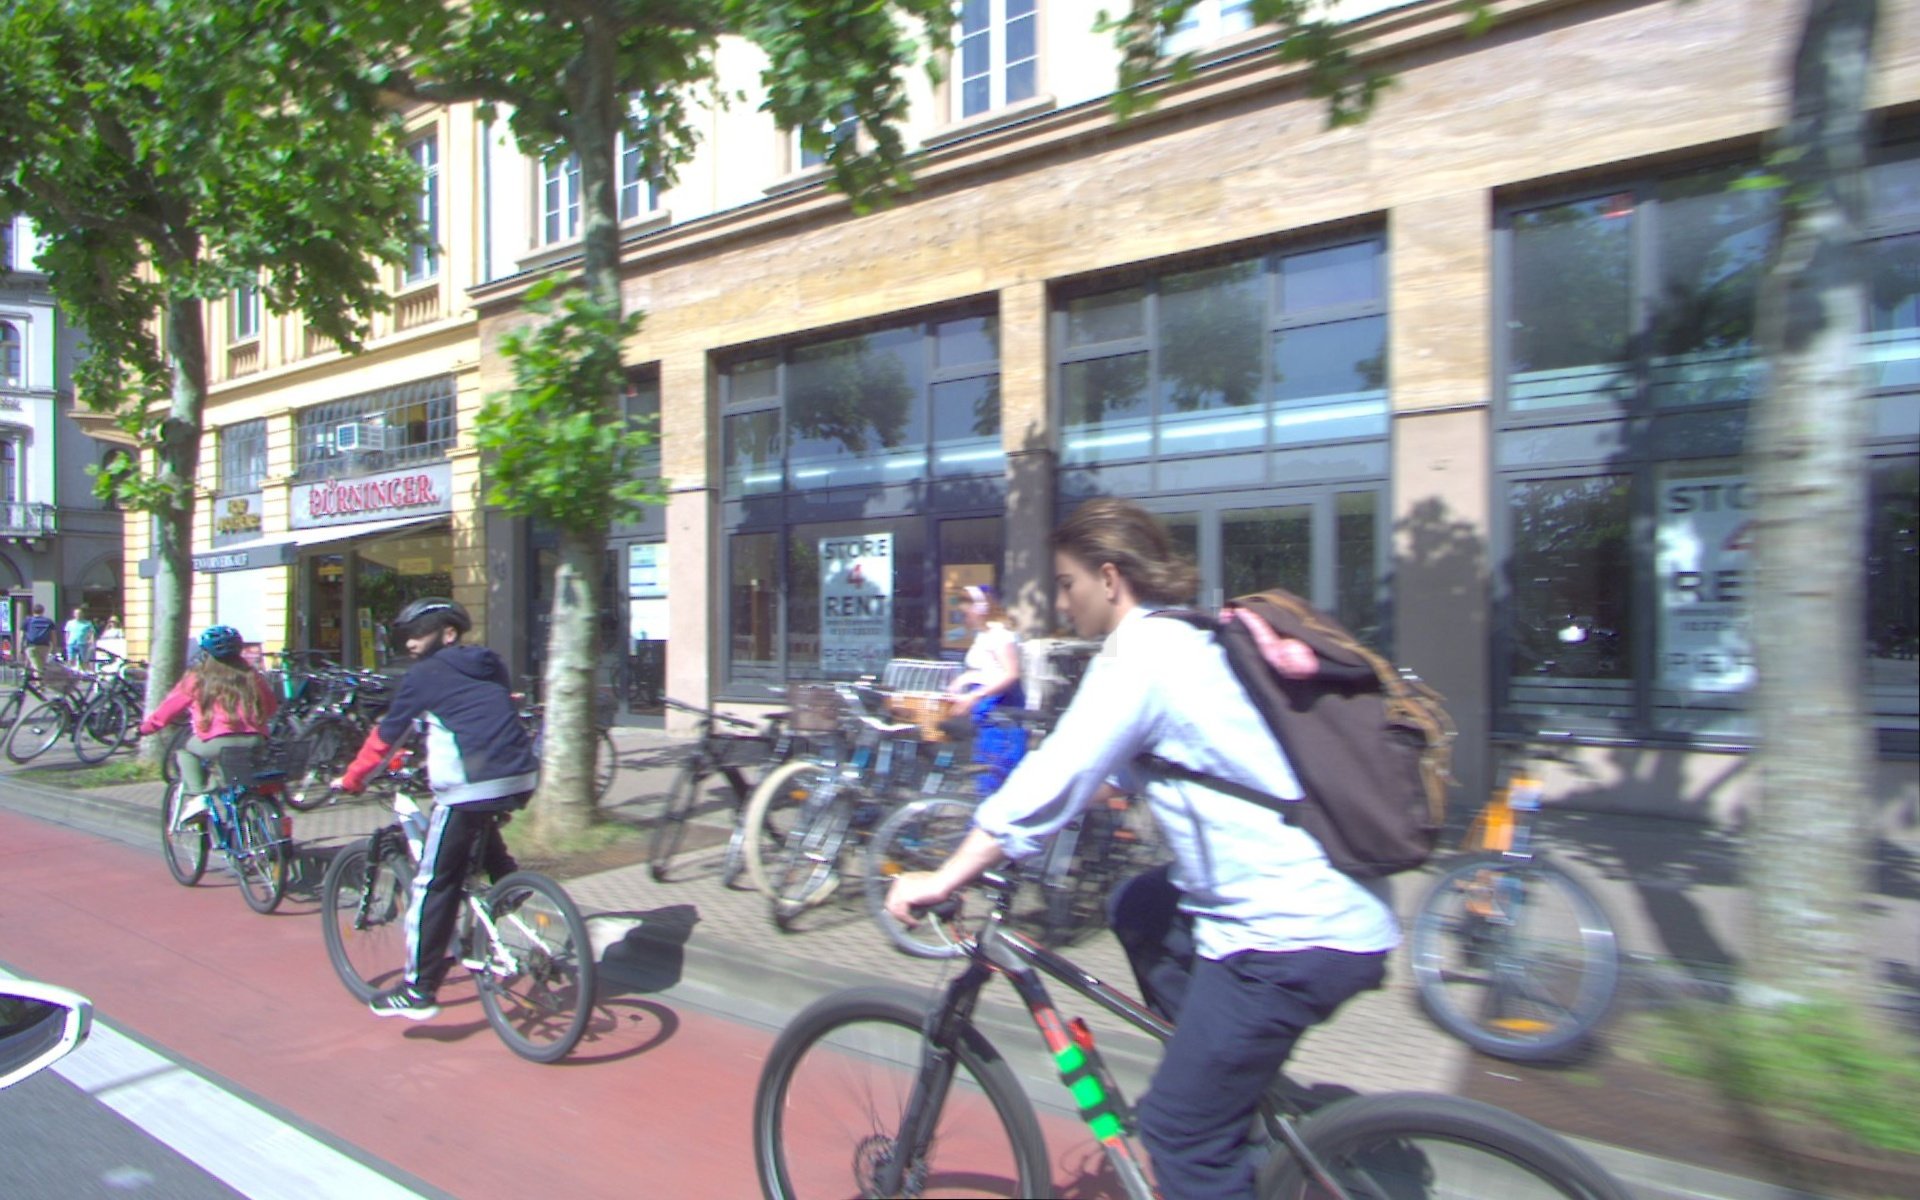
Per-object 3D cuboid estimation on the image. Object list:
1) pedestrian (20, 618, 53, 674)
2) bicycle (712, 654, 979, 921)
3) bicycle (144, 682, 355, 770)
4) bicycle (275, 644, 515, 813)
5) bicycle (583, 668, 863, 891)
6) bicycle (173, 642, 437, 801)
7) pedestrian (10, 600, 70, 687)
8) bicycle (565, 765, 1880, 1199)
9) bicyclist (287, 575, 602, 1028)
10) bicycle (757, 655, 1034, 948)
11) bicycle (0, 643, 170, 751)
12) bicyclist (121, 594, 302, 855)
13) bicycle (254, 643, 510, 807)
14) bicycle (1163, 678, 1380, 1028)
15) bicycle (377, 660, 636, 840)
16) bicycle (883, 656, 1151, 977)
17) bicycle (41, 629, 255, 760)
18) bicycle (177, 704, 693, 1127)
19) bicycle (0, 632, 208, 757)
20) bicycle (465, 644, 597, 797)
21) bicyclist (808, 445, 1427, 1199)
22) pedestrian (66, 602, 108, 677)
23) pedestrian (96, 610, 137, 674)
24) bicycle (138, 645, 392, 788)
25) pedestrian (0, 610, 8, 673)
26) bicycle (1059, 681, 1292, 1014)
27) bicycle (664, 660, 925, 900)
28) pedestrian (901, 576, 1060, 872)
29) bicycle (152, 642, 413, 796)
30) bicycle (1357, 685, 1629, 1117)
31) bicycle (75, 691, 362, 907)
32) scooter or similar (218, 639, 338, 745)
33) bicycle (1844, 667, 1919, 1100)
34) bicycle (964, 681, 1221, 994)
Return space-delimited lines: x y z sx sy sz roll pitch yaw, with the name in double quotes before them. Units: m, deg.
"pedestrian" -27.521 1.375 29.850 0.668 1.654 0.539 -1 -2 30
"bicycle" -0.564 0.935 5.611 0.471 1.233 1.724 0 -1 34
"bicycle" -7.295 1.268 10.411 0.646 0.725 1.849 0 -2 11
"bicycle" -4.506 0.971 8.102 0.468 1.216 1.645 0 -1 34
"bicycle" -1.379 1.004 6.160 0.598 1.109 1.724 0 -2 34
"bicycle" -5.578 0.978 8.654 0.537 1.216 1.840 0 -2 34
"pedestrian" -19.800 0.946 21.542 1.216 1.812 0.656 -2 -2 32
"bicycle" 0.254 0.989 1.874 2.049 1.141 0.698 0 -2 29
"bicyclist" -1.903 0.670 3.738 0.778 1.459 0.698 0 -2 29
"bicycle" -0.254 0.921 5.194 0.471 1.233 1.724 0 -1 34
"bicycle" -10.410 1.100 11.708 0.554 1.137 1.780 0 -1 29
"bicyclist" -4.265 0.664 5.715 0.710 1.375 0.599 0 -1 32
"bicycle" -4.783 0.980 8.429 0.468 1.216 1.840 0 -2 34
"bicycle" 1.386 0.927 4.248 0.397 1.123 1.724 0 -2 34
"bicycle" -3.237 1.014 7.301 0.598 1.109 1.645 0 -2 34
"bicycle" 0.354 0.904 4.818 0.471 1.233 1.724 0 -1 34
"bicycle" -9.006 0.998 11.208 0.676 1.325 1.826 0 -1 12
"bicycle" -2.038 1.023 3.801 2.049 1.141 0.698 0 -2 29
"bicycle" -9.665 1.001 11.263 0.692 1.273 1.938 0 -1 13
"bicycle" -3.817 1.007 8.849 1.637 1.203 0.470 -1 -2 44
"bicyclist" 0.319 0.547 1.849 0.946 1.464 0.698 0 -2 29
"pedestrian" -21.643 0.975 24.831 0.578 1.825 0.550 -1 0 -12
"pedestrian" -21.269 1.052 25.259 0.578 1.590 0.550 -1 0 -12
"bicycle" -6.442 1.023 9.386 0.650 1.179 1.840 0 -2 34
"pedestrian" -28.379 1.207 29.269 0.668 1.830 0.609 -1 -1 30
"bicycle" 1.028 0.959 4.446 0.397 1.123 1.724 0 -2 34
"bicycle" -0.911 0.971 5.961 0.471 1.177 1.724 0 -2 34
"pedestrian" 0.130 0.698 6.007 0.734 1.633 0.614 0 -1 33
"bicycle" -5.980 0.990 8.952 0.600 1.216 1.840 0 -2 34
"bicycle" 2.068 0.928 3.754 0.726 1.123 1.724 0 -2 34
"bicycle" -4.274 1.051 5.713 2.057 0.938 0.599 0 -1 32
"scooter or similar" -7.974 1.061 11.712 1.208 1.193 0.422 0 -1 12
"bicycle" 3.371 0.873 3.085 0.726 1.264 1.927 0 -2 34
"bicycle" 0.697 0.980 4.697 0.471 1.123 1.724 0 -2 34
